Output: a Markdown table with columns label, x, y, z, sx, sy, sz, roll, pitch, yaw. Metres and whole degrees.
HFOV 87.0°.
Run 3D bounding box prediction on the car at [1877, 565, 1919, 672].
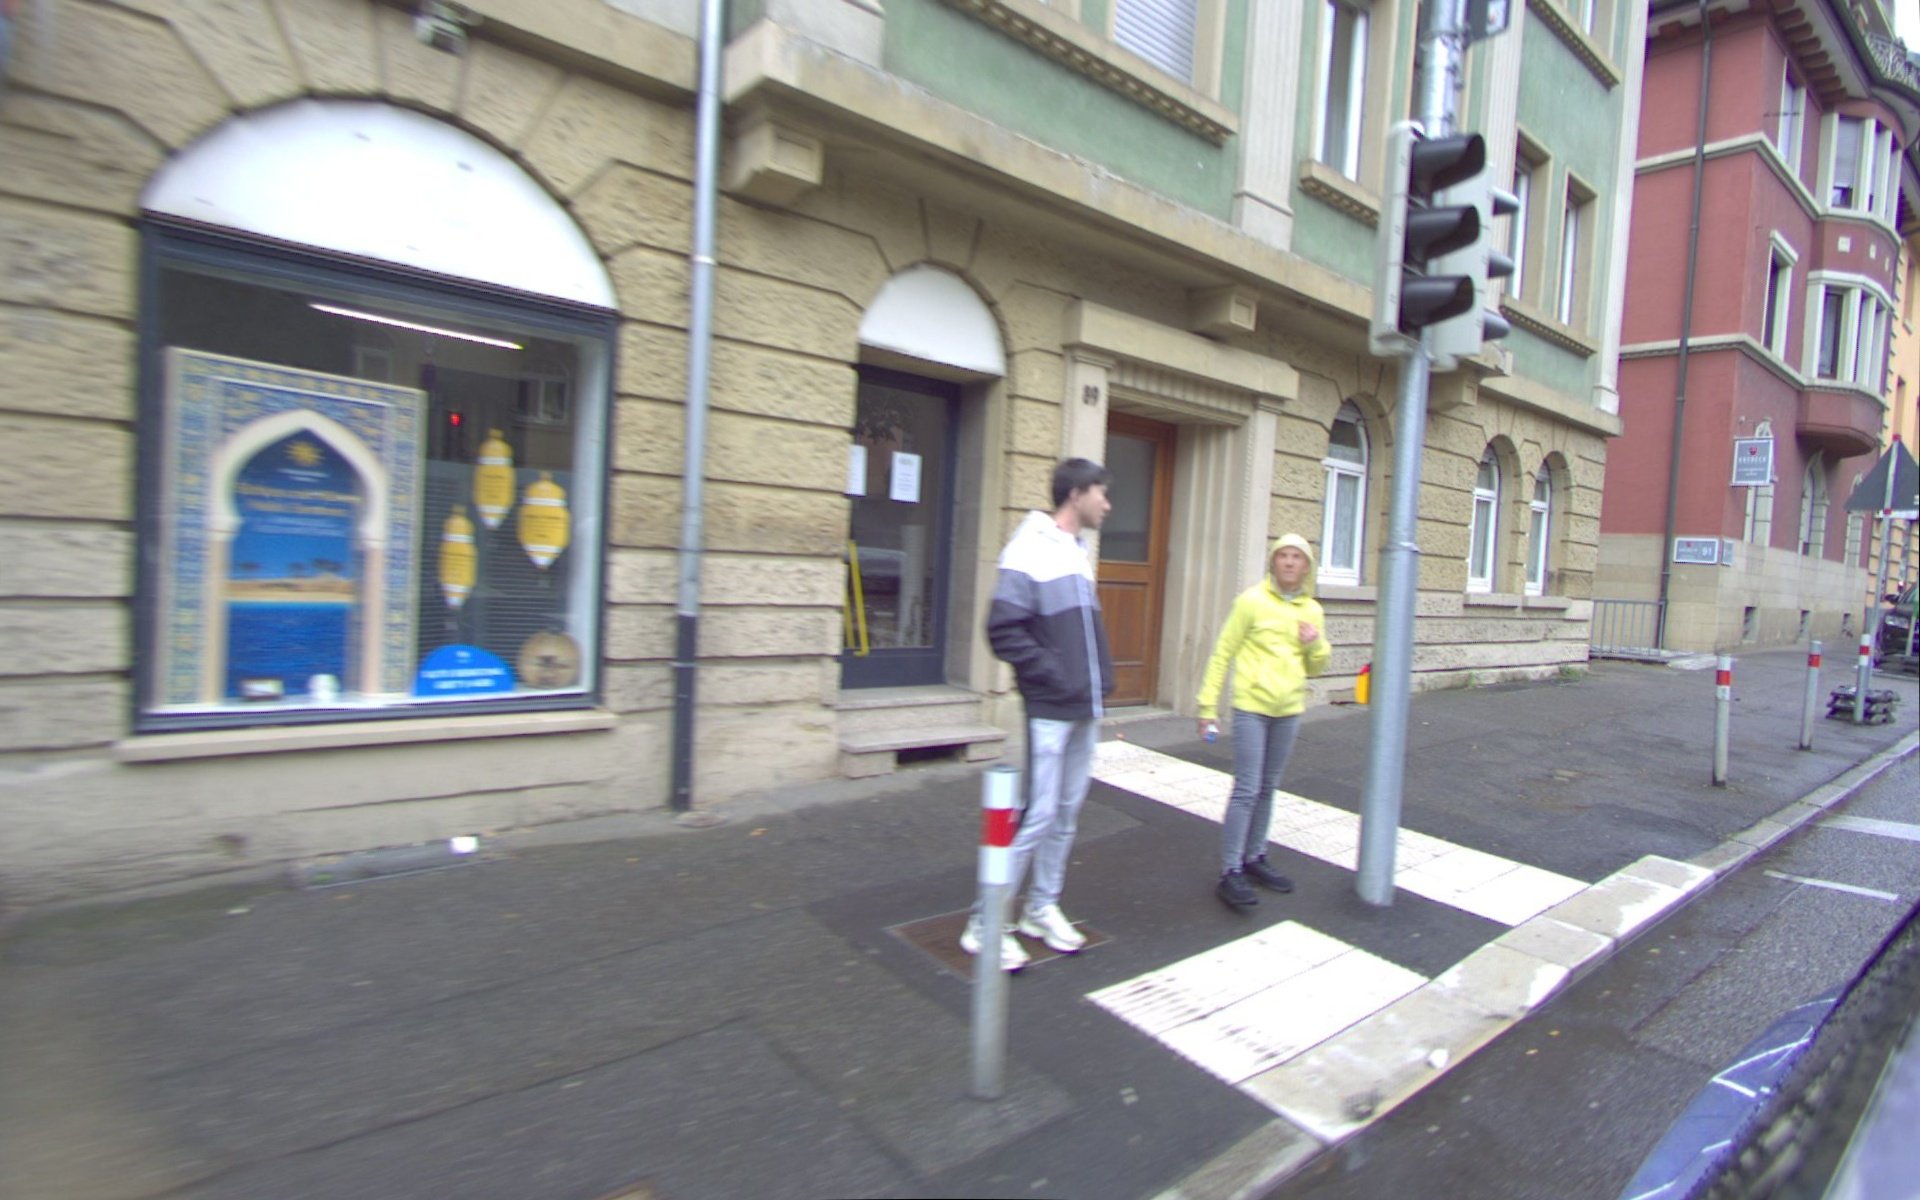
| label | x | y | z | sx | sy | sz | roll | pitch | yaw |
| --- | --- | --- | --- | --- | --- | --- | --- | --- | --- |
| car | 17.570 | 0.311 | 17.381 | 4.614 | 1.648 | 1.883 | -3 | 8 | -39 |

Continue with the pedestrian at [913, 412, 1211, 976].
| label | x | y | z | sx | sy | sz | roll | pitch | yaw |
| --- | --- | --- | --- | --- | --- | --- | --- | --- | --- |
| pedestrian | 0.342 | 0.282 | 3.652 | 0.706 | 1.795 | 0.667 | 1 | 5 | -30 |

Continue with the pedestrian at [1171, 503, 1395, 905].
| label | x | y | z | sx | sy | sz | roll | pitch | yaw |
| --- | --- | --- | --- | --- | --- | --- | --- | --- | --- |
| pedestrian | 1.360 | 0.404 | 4.386 | 0.587 | 1.603 | 0.667 | 3 | 4 | -5 |
